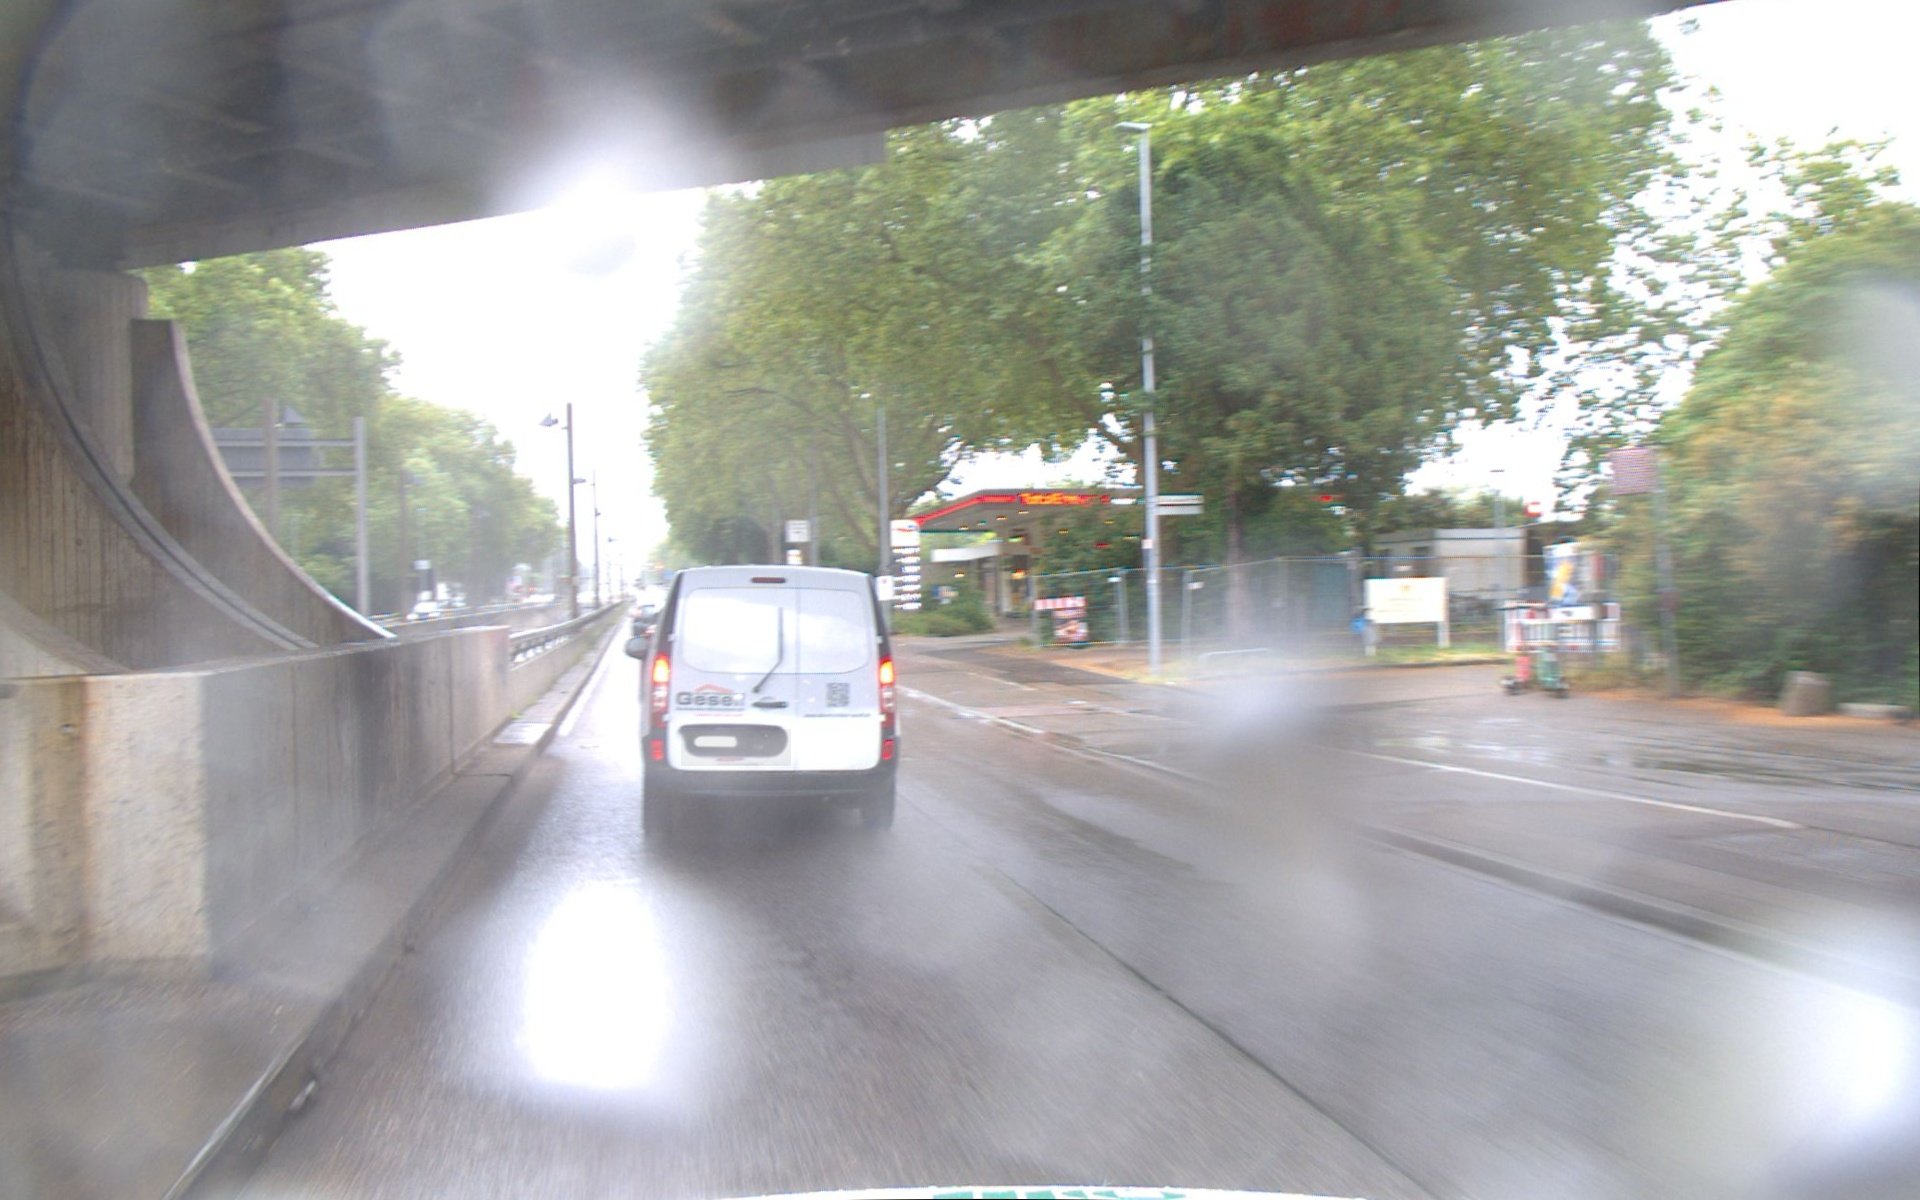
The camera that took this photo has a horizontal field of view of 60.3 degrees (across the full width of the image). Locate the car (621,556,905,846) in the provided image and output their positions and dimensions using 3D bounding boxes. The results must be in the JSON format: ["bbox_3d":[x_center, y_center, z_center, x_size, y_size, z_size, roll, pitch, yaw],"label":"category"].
[{"bbox_3d":[-1.637,0.682,12.494,1.725,1.809,3.987,1,-1,-13],"label":"car"}]

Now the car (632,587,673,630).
[{"bbox_3d":[-16.207,0.467,87.418,2.011,2.177,3.991,-1,0,-10],"label":"car"}]

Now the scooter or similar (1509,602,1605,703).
[{"bbox_3d":[7.655,0.651,21.273,0.754,1.199,1.549,-4,0,6],"label":"scooter or similar"}]

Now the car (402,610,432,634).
[{"bbox_3d":[-37.775,1.507,115.134,1.877,1.598,3.981,-1,0,-17],"label":"car"}]

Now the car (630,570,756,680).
[{"bbox_3d":[-4.508,0.399,27.563,1.883,1.637,3.989,-2,0,-11],"label":"car"}]

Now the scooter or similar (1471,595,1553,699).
[{"bbox_3d":[7.674,0.632,22.963,0.695,1.333,1.555,-7,-3,29],"label":"scooter or similar"}]
